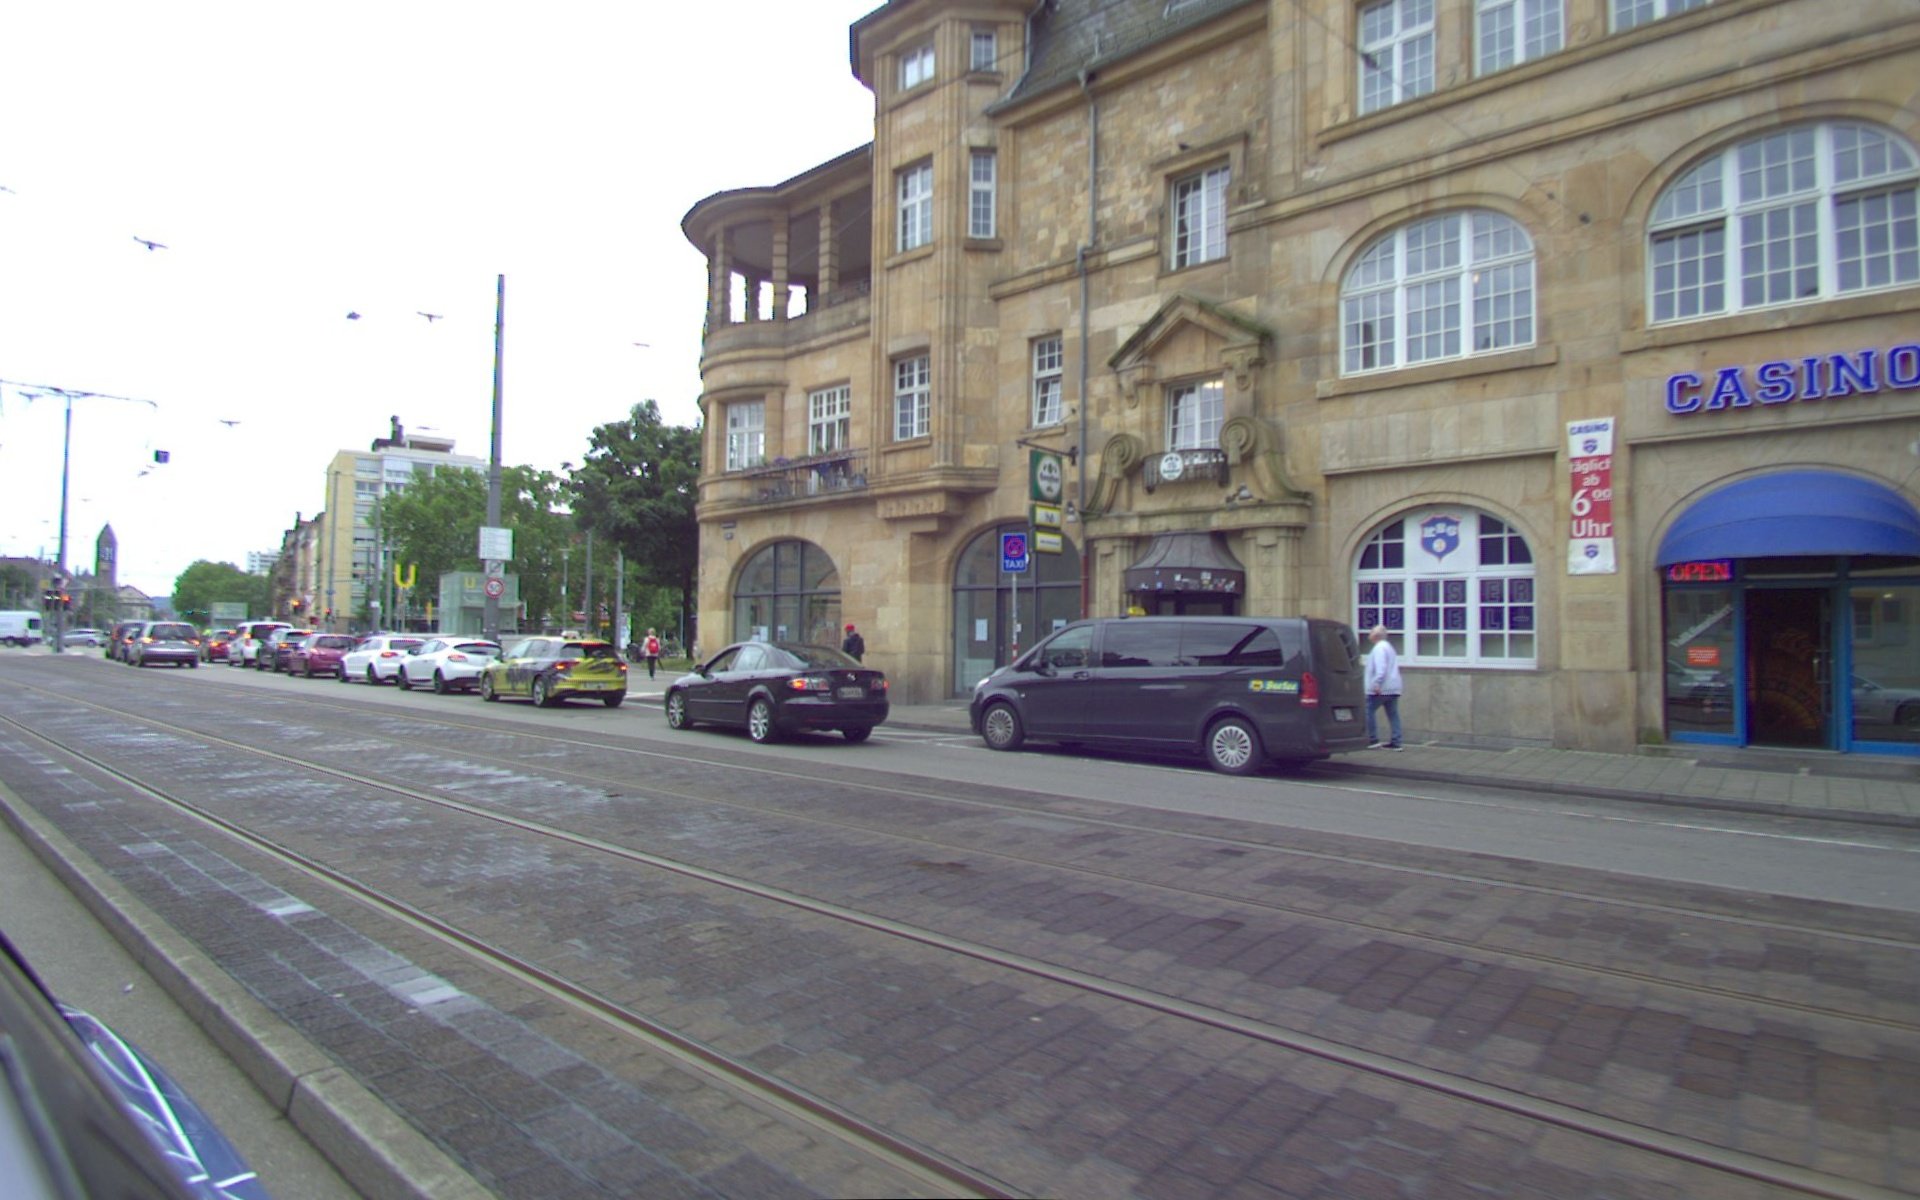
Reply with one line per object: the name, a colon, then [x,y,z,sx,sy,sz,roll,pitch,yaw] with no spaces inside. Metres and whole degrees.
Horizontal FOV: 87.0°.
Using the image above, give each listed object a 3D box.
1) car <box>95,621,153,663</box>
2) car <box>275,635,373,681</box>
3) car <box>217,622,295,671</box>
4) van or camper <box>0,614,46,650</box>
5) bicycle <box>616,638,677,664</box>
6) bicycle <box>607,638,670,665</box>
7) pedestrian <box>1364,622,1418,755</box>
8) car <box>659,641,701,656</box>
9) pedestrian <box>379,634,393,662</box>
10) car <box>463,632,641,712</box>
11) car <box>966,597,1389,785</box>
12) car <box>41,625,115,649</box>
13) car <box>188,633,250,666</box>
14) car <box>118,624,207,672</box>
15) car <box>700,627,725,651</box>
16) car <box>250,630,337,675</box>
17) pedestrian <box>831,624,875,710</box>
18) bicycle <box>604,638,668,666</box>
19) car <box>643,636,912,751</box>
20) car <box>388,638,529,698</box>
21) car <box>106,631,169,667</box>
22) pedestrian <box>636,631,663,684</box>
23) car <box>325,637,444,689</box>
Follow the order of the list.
car: [-39.546,1.982,47.836,4.389,1.915,1.669,-2,-4,45]
car: [-21.184,1.914,33.660,3.896,1.410,1.842,-2,-6,45]
car: [-29.546,1.921,42.415,1.841,1.931,5.104,3,-4,-44]
van or camper: [-73.090,2.392,76.098,5.951,2.631,2.429,2,-2,-13]
bicycle: [-17.309,2.805,55.932,3.085,1.364,0.958,1,-2,9]
bicycle: [-17.347,2.766,54.619,3.085,1.364,0.958,1,-2,9]
pedestrian: [5.804,1.170,13.634,0.522,1.741,0.592,-2,-3,37]
car: [-27.473,4.740,99.338,3.683,1.431,1.641,1,-3,-2]
pedestrian: [-35.583,2.964,62.744,0.592,1.741,0.915,2,-3,-23]
car: [-8.794,1.498,21.611,4.430,1.522,1.877,-2,-5,45]
car: [2.640,1.088,13.141,5.094,1.992,1.879,-2,-6,41]
car: [-70.443,2.960,80.895,3.933,1.763,2.005,2,-2,-12]
car: [-34.208,2.268,46.663,4.002,1.453,1.669,-2,-4,45]
car: [-30.954,1.848,39.240,4.908,1.719,1.843,-2,-5,42]
car: [-22.348,3.503,91.546,1.744,2.029,4.006,1,-2,-7]
car: [-24.876,1.956,37.697,1.841,1.546,4.305,6,-5,-44]
pedestrian: [-2.202,1.375,20.906,0.764,1.741,0.490,-2,-3,38]
bicycle: [-17.033,2.731,53.170,3.085,1.364,0.958,1,-2,9]
car: [-2.882,1.320,15.135,1.804,1.444,4.674,6,-6,-40]
car: [-12.889,1.689,25.922,4.259,1.390,1.905,-2,-3,44]
car: [-35.793,2.106,43.996,4.002,1.453,1.669,-2,-4,45]
pedestrian: [-10.222,1.895,33.361,0.628,1.732,0.529,0,-3,21]
car: [-17.168,1.862,30.123,4.361,1.390,1.728,-2,-6,42]
